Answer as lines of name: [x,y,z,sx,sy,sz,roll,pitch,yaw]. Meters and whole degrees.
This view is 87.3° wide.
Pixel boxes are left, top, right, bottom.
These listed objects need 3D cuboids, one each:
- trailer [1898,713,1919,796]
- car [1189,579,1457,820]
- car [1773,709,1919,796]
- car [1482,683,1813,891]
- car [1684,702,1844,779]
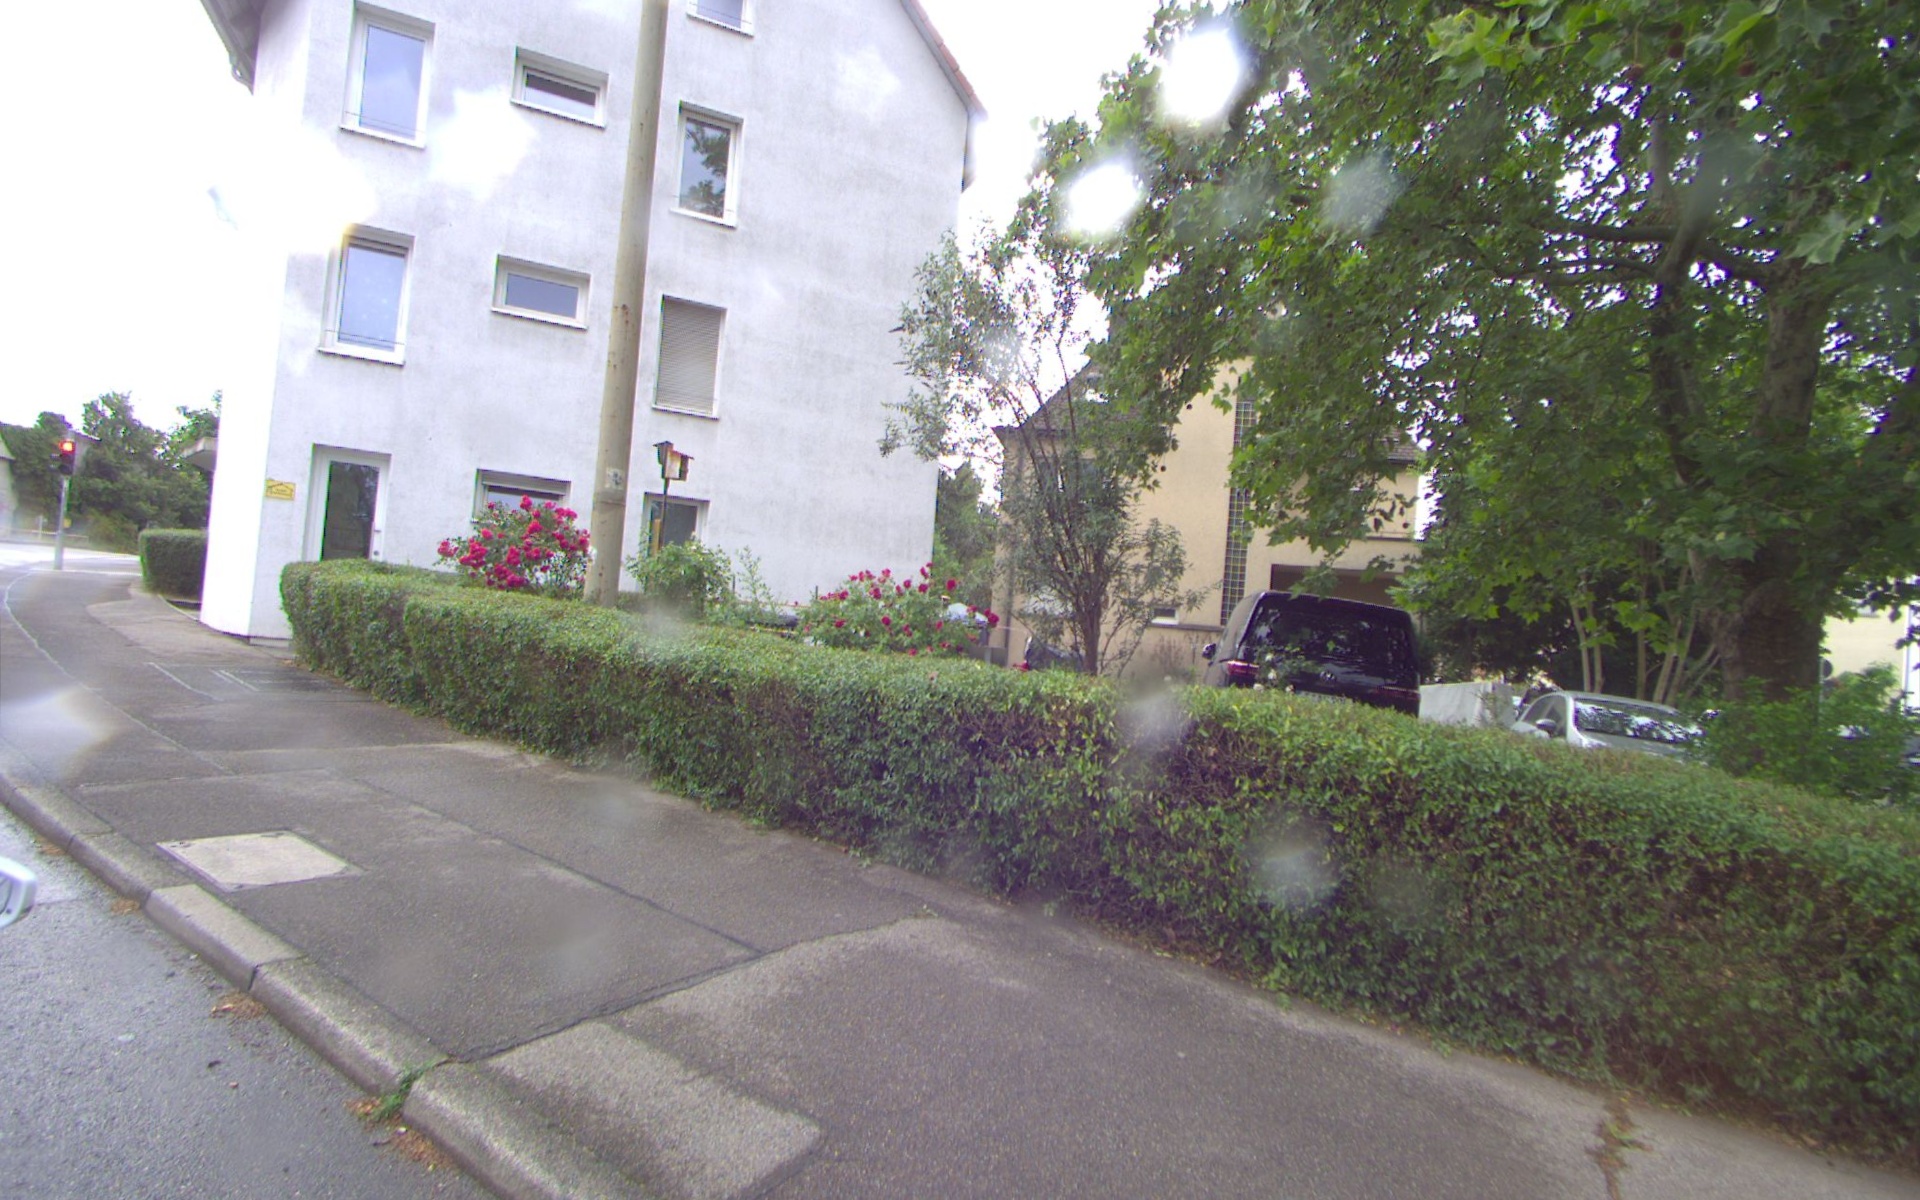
trailer: [24.723,3.927,23.962,1.640,2.037,3.494,6,-1,8]
car: [3.761,0.992,11.292,1.962,1.955,4.419,6,-1,11]
car: [25.267,4.214,27.976,1.962,1.861,4.584,6,-1,9]
car: [7.389,1.881,11.335,1.788,1.599,4.003,6,-2,16]
car: [26.352,4.553,33.221,1.962,1.861,4.584,6,-1,9]
